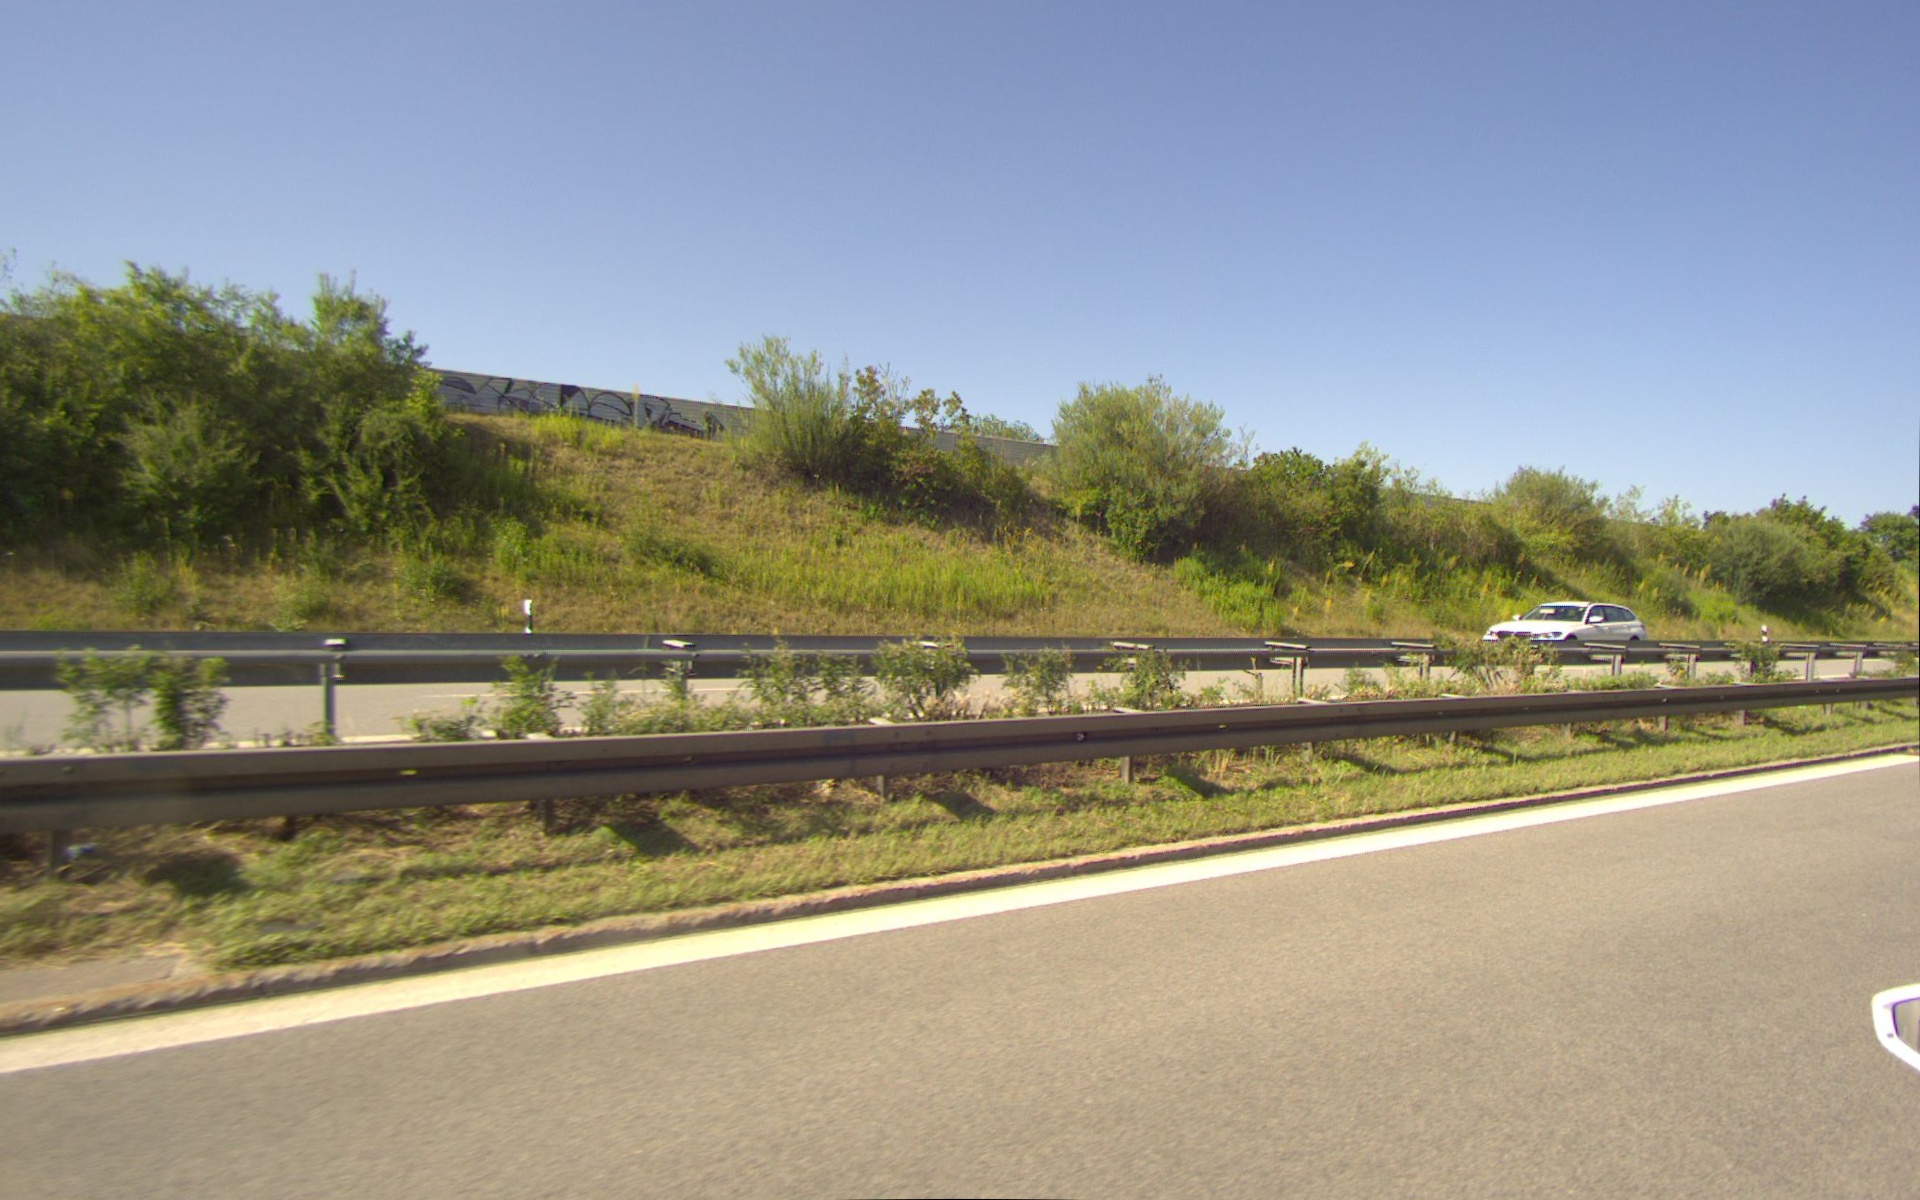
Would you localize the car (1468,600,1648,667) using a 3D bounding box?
[{"bbox_3d":[14.215,0.759,23.817,4.348,1.441,1.890,1,0,-32],"label":"car"}]
